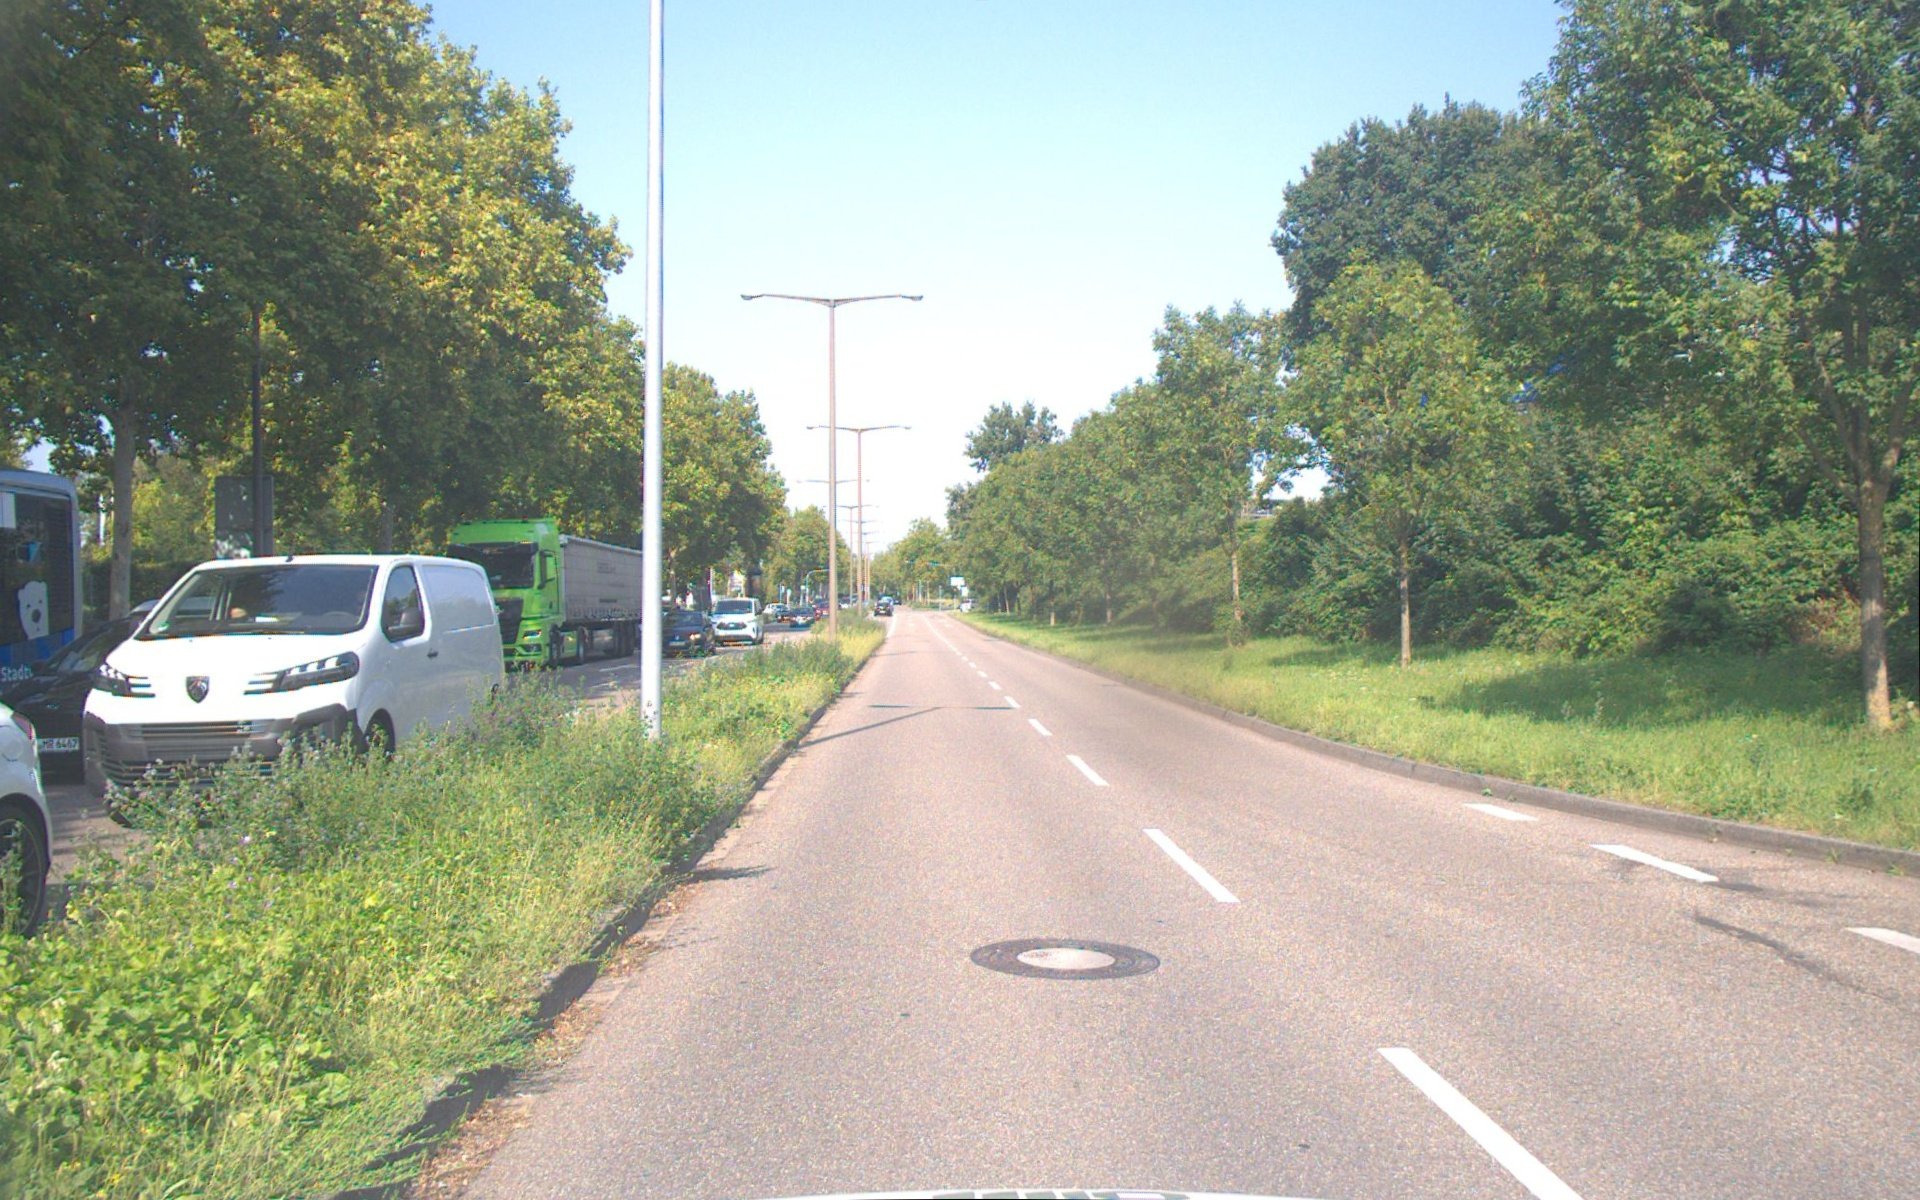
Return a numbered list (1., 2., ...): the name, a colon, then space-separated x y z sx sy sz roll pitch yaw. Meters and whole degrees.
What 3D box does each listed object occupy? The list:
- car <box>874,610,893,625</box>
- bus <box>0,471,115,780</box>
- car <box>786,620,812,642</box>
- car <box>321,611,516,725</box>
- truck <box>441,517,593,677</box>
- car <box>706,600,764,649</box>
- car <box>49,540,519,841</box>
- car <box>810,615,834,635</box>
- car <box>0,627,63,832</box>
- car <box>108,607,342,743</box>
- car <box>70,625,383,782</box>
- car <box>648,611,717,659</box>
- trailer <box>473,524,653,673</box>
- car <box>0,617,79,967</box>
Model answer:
1. car: -7.916 1.842 171.170 1.657 1.512 4.000 0 0 1
2. bus: -10.900 0.204 12.911 2.538 3.133 12.307 0 -1 -1
3. car: -11.777 2.235 120.944 1.712 1.505 4.583 -2 -1 -4
4. car: -7.952 0.949 24.652 1.660 1.555 4.138 0 -1 -2
5. truck: -11.654 -0.047 44.017 2.555 3.886 5.888 -2 -1 -2
6. car: -9.376 1.005 69.218 1.953 1.988 5.033 0 0 -2
7. car: -5.055 0.611 13.230 1.873 1.896 4.887 -2 -1 -2
8. car: -12.293 2.218 147.807 1.914 1.754 4.585 -1 -1 -2
9. car: -7.843 0.968 11.056 1.672 1.492 3.820 -2 -1 -2
10. car: -11.598 1.120 26.479 1.669 1.921 4.747 -2 -1 -1
11. car: -7.839 1.033 18.116 1.614 1.458 4.188 -2 -1 -1
12. car: -8.884 1.107 53.148 1.581 1.423 3.856 -2 -1 -1
13. trailer: -11.889 0.038 51.088 2.580 3.888 13.805 -2 -1 -2
14. car: -4.751 0.823 5.349 1.675 1.426 4.082 -2 0 -2
